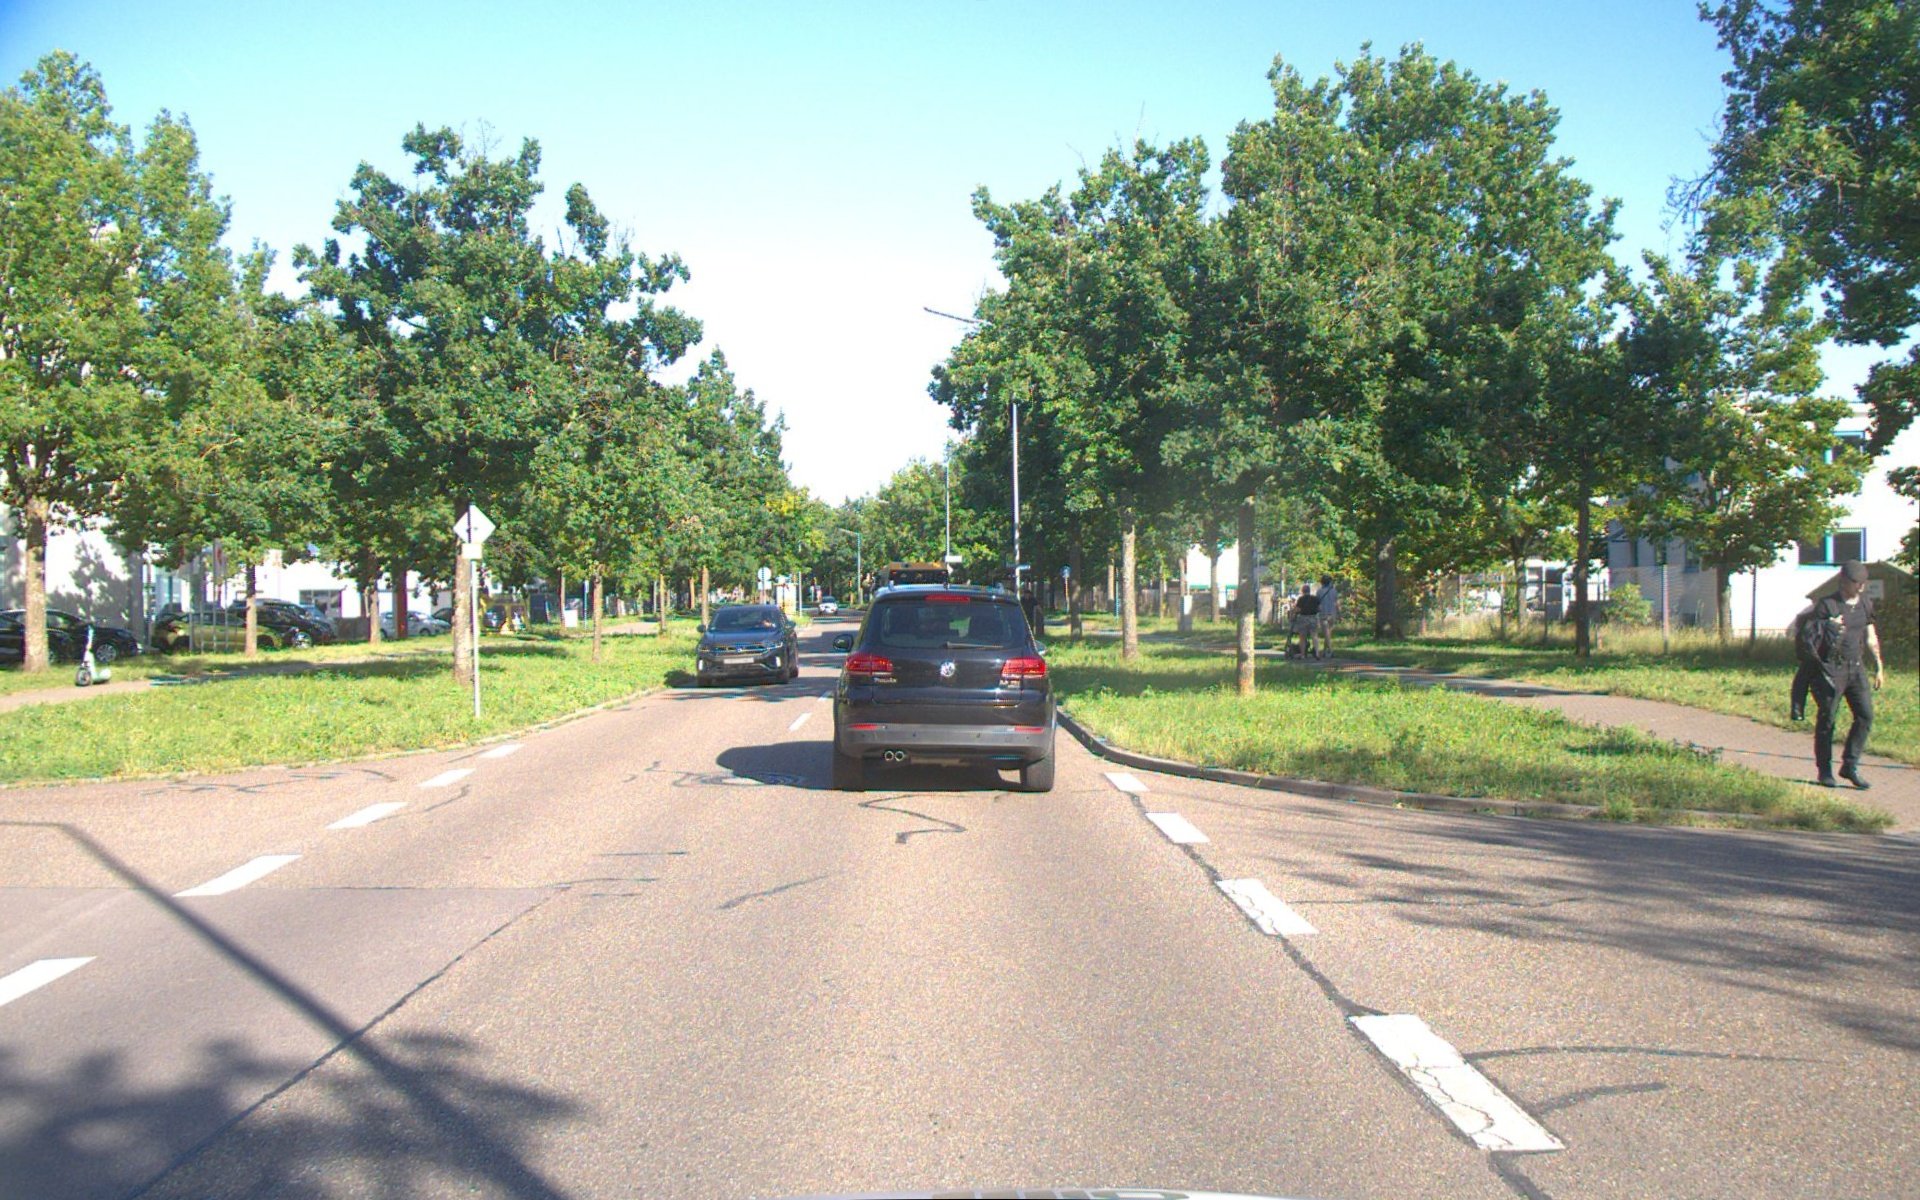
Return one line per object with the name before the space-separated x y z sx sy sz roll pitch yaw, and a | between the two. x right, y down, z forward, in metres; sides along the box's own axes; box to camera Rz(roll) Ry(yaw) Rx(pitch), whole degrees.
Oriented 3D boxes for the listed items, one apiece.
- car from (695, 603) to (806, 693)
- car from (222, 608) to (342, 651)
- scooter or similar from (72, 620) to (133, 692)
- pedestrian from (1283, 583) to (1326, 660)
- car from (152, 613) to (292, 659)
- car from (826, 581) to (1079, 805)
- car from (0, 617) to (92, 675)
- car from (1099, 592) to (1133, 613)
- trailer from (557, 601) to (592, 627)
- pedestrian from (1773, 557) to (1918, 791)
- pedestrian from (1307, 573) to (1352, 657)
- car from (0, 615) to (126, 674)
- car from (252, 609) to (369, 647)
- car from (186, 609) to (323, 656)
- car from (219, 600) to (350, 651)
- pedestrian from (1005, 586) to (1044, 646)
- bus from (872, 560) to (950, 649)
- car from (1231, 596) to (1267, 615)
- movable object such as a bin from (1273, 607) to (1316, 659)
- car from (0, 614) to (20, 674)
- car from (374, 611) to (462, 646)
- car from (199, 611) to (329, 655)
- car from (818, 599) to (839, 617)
car | -4.134 0.904 33.261 1.768 1.563 4.493 -2 0 -2
car | -26.923 1.158 65.737 4.120 1.589 1.976 -1 0 -34
scooter or similar | -16.047 1.029 30.971 0.387 1.301 1.441 -1 0 -1
pedestrian | 7.430 0.458 35.700 0.711 1.631 0.867 -1 0 -2
car | -25.000 1.182 56.070 3.923 1.426 1.968 -1 0 -44
car | -0.127 0.696 14.751 1.897 1.685 4.425 1 0 -2
car | -25.415 1.231 43.830 1.771 1.474 3.971 -1 0 45
car | 14.094 0.219 149.799 2.143 1.775 4.634 -1 0 -7
trailer | -30.499 1.112 130.856 2.061 1.948 3.738 -1 0 -4
pedestrian | 7.281 0.583 13.639 0.711 1.843 0.867 -1 2 -2
pedestrian | 8.175 0.329 36.633 0.711 1.786 0.867 -3 0 -2
car | -25.865 1.241 46.803 3.947 1.537 1.782 -1 1 -31
car | -32.873 1.409 83.759 5.191 1.849 2.146 -1 0 13
car | -25.256 1.147 59.267 4.138 1.565 1.866 -1 0 -44
car | -28.778 1.072 70.577 4.821 2.049 1.968 -1 0 -44
pedestrian | 1.828 0.446 46.978 0.999 1.680 1.099 -1 0 -2
bus | -2.254 0.152 72.027 2.710 3.517 11.199 -1 0 -5
car | 22.473 0.420 128.820 1.731 1.408 3.761 -1 0 -7
movable object such as a bin | 7.386 0.719 36.574 0.711 1.100 0.867 -3 0 -2
car | -25.331 1.117 40.189 1.768 1.474 3.978 -1 0 40
car | -26.801 1.393 81.816 3.662 1.646 1.965 -1 0 13
car | -26.250 1.223 62.403 4.133 1.517 1.970 -1 0 -41
car | -11.347 0.658 143.234 1.710 1.490 4.423 -2 0 -4
